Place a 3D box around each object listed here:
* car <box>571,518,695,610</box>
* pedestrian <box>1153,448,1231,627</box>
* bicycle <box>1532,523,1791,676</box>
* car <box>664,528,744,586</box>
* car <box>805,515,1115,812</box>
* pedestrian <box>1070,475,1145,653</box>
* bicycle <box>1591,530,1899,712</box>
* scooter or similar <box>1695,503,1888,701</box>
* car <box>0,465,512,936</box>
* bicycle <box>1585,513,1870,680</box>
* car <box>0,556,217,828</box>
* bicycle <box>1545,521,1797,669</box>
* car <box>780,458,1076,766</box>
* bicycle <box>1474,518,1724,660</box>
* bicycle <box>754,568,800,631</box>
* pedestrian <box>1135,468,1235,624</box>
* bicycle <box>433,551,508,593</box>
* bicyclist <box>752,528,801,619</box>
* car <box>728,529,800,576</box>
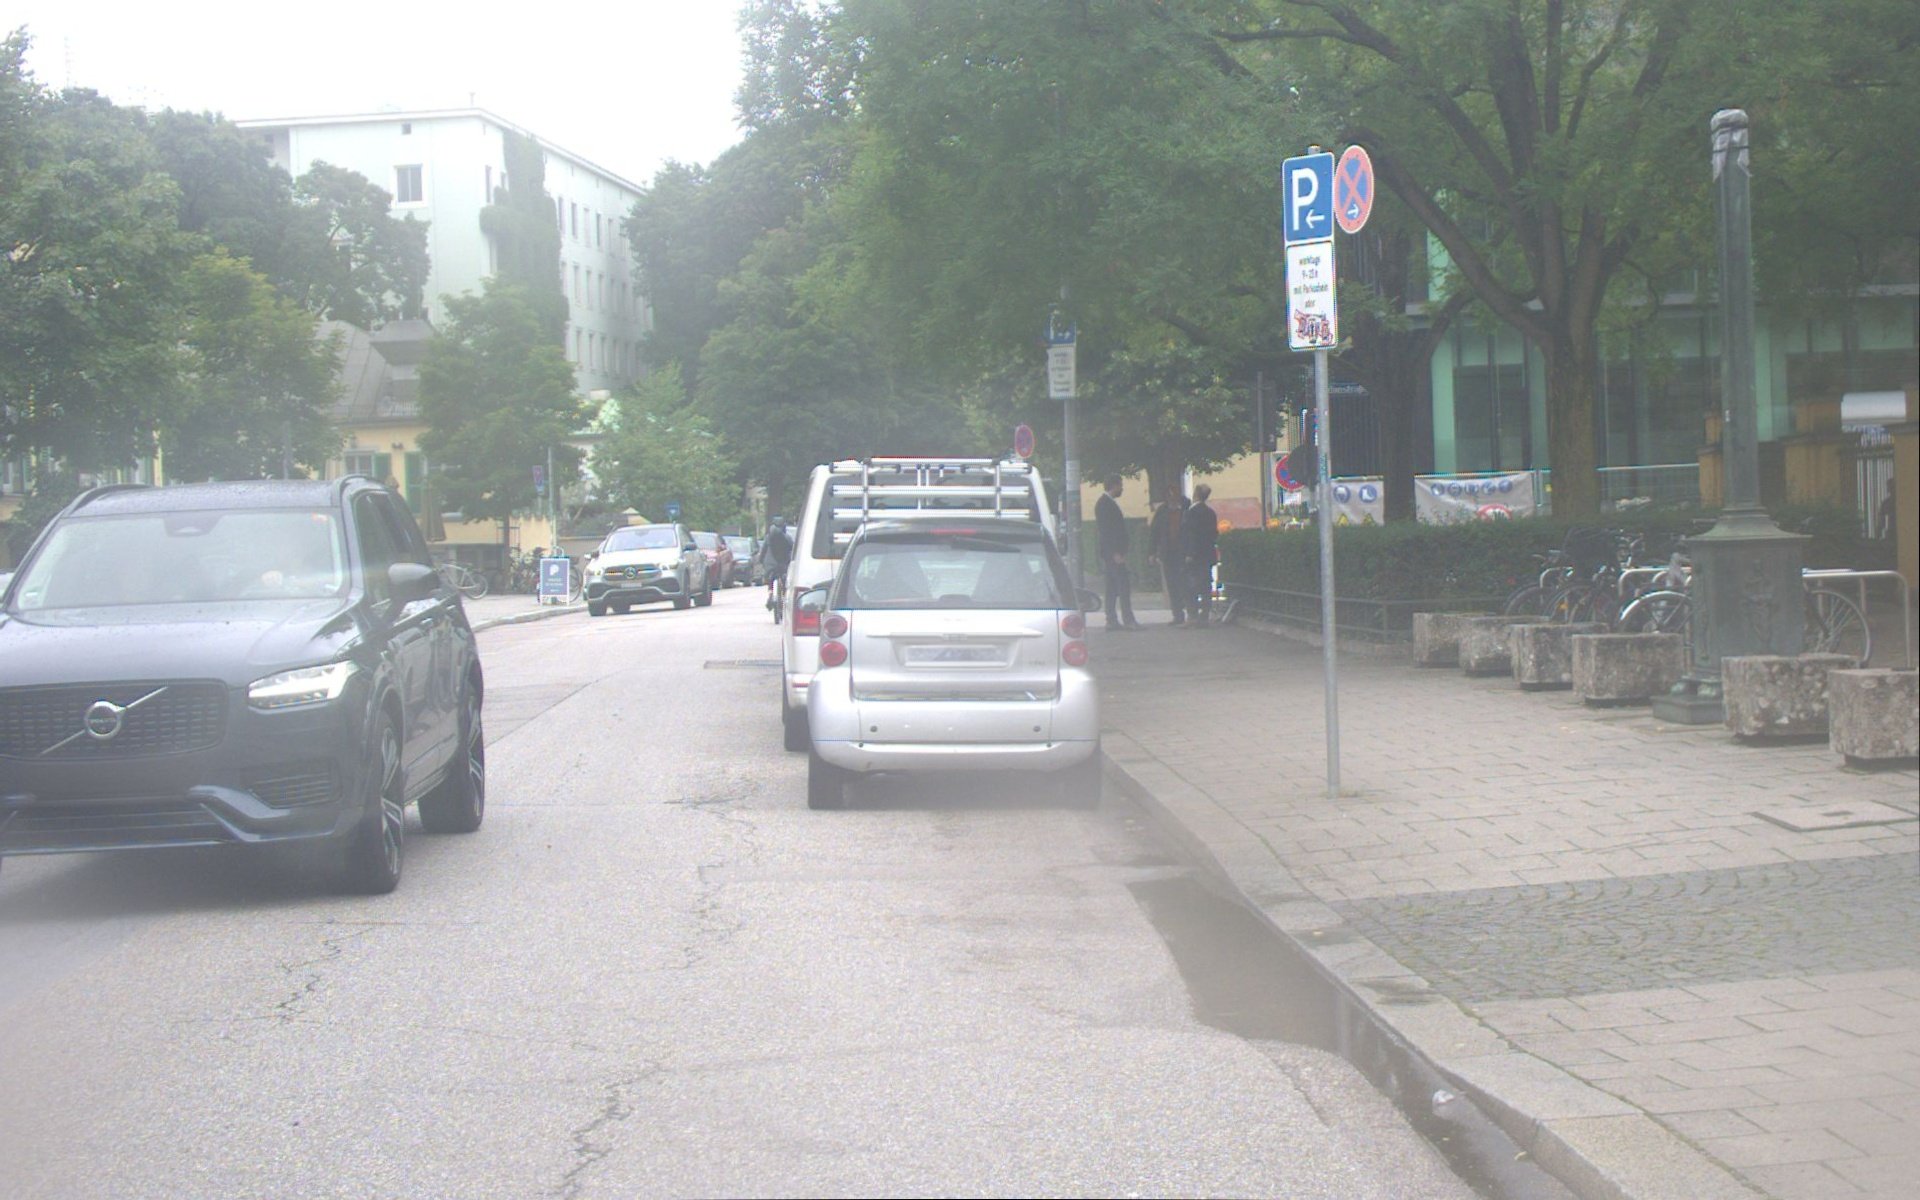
[{"bbox_3d":[-6.509,-0.754,68.910,2.024,1.683,4.678,-3,1,-1],"label":"car"},{"bbox_3d":[2.828,-0.761,41.999,0.742,2.127,1.056,-3,1,-2],"label":"pedestrian"},{"bbox_3d":[5.615,-0.009,27.565,1.931,1.109,0.471,-3,1,1],"label":"bicycle"},{"bbox_3d":[-7.406,-1.226,99.758,1.993,1.597,4.000,-1,0,0],"label":"car"},{"bbox_3d":[-0.042,0.295,19.306,1.605,1.540,2.934,0,1,-2],"label":"car"},{"bbox_3d":[1.804,-0.449,42.144,0.742,2.127,1.056,-3,1,-2],"label":"pedestrian"},{"bbox_3d":[5.315,0.135,23.295,1.931,1.109,0.471,-3,1,-4],"label":"bicycle"},{"bbox_3d":[5.317,0.018,22.000,1.011,1.218,0.536,-2,2,43],"label":"scooter or similar"},{"bbox_3d":[-3.291,0.342,15.370,1.960,1.676,4.912,-4,1,-2],"label":"car"},{"bbox_3d":[5.629,-0.032,25.259,1.931,1.109,0.471,-3,1,1],"label":"bicycle"},{"bbox_3d":[-5.902,0.515,20.819,1.922,1.434,4.919,-4,1,-3],"label":"car"},{"bbox_3d":[5.857,-0.044,28.361,1.931,1.109,0.471,-3,1,0],"label":"bicycle"},{"bbox_3d":[-0.337,0.019,24.397,1.845,1.926,5.273,1,1,-3],"label":"car"},{"bbox_3d":[5.544,-0.104,29.842,2.031,1.109,0.471,-3,1,-4],"label":"bicycle"},{"bbox_3d":[-2.829,-0.019,53.354,0.626,0.951,1.860,1,1,-1],"label":"bicycle"},{"bbox_3d":[2.829,-0.686,43.151,0.744,1.901,1.054,-2,1,34],"label":"pedestrian"},{"bbox_3d":[-11.623,-0.662,81.648,1.613,0.922,0.651,-2,0,-26],"label":"bicycle"},{"bbox_3d":[-2.834,-0.413,53.286,0.704,1.388,0.868,1,0,-1],"label":"bicyclist"},{"bbox_3d":[-6.673,-1.651,117.536,1.994,1.481,4.000,-2,1,3],"label":"car"}]
